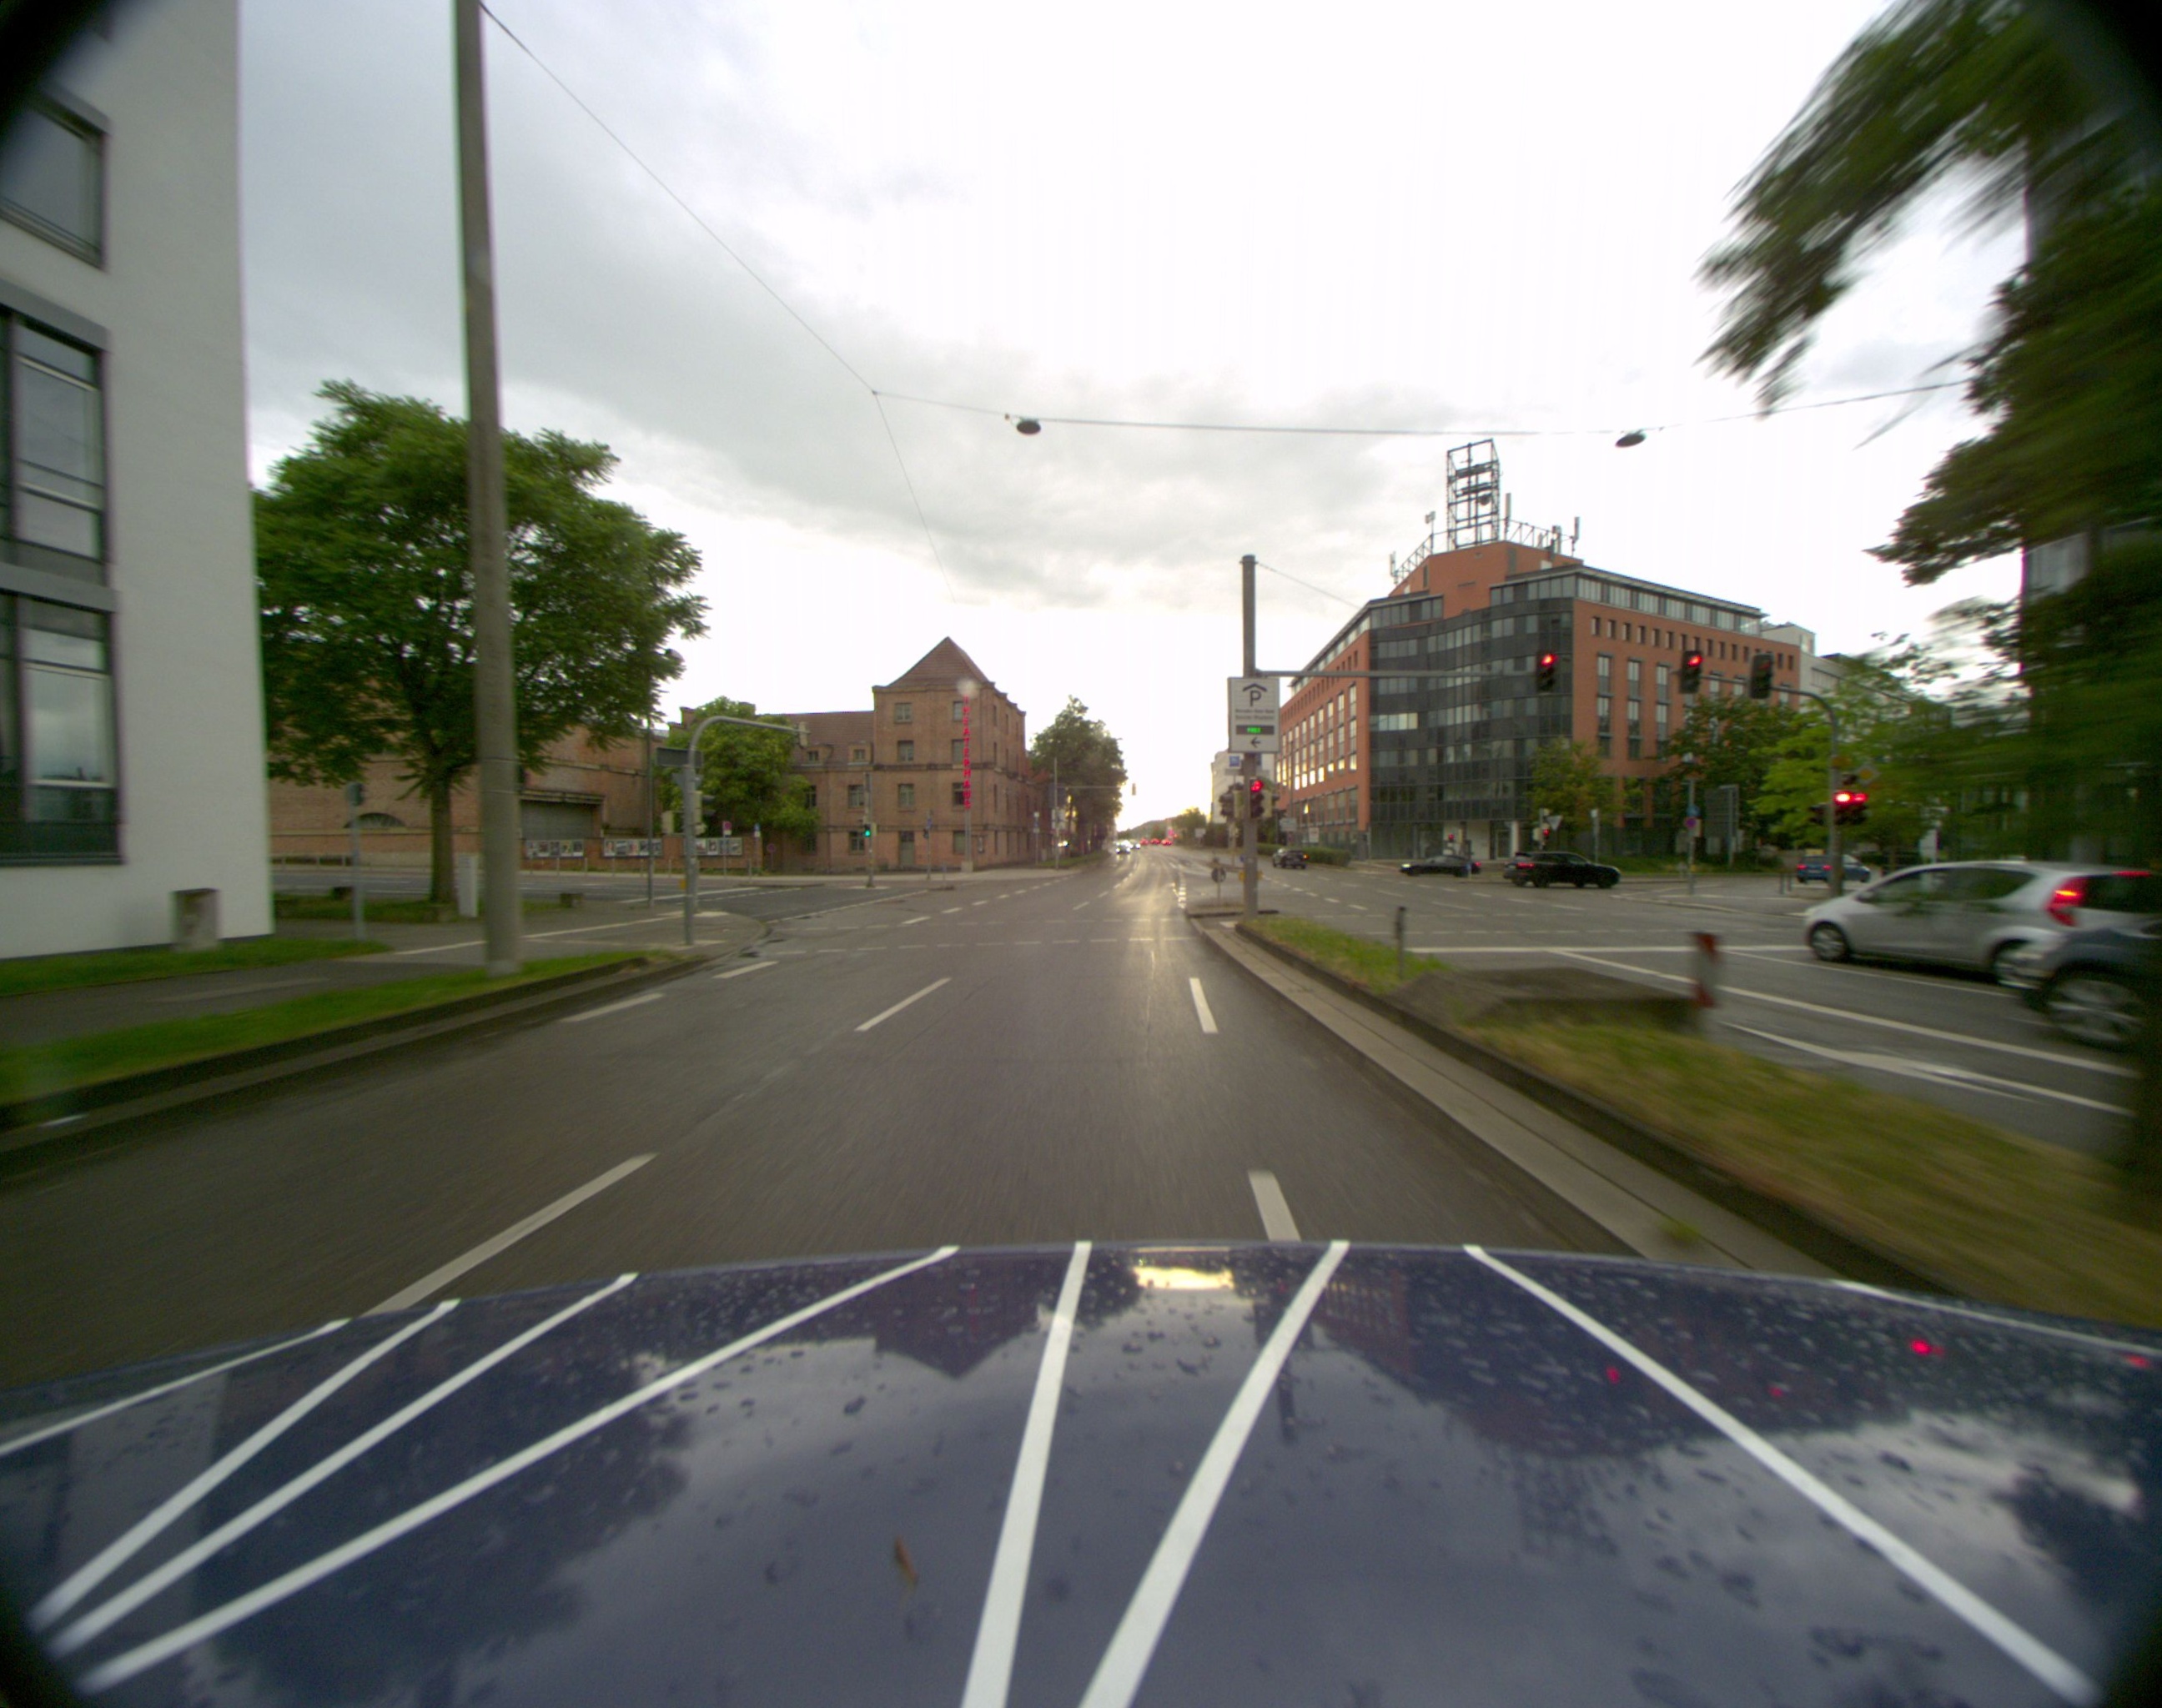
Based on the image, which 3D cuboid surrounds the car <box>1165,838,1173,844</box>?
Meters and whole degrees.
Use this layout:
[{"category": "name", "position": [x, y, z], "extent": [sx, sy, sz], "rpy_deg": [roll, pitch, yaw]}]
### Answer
[{"category": "car", "position": [24.042, -3.590, 206.829], "extent": [1.766, 1.559, 3.999], "rpy_deg": [-1, 1, 2]}]

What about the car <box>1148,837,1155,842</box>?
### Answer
[{"category": "car", "position": [23.939, -5.009, 258.224], "extent": [1.998, 1.543, 4.000], "rpy_deg": [0, 2, 4]}]

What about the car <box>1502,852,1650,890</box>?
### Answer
[{"category": "car", "position": [22.603, 0.765, 34.887], "extent": [5.419, 1.657, 2.000], "rpy_deg": [0, 1, 3]}]

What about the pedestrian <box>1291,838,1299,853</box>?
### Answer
[{"category": "pedestrian", "position": [27.099, -1.125, 96.303], "extent": [0.747, 1.831, 0.886], "rpy_deg": [-2, 2, 4]}]

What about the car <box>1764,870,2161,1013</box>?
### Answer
[{"category": "car", "position": [12.096, 1.045, 10.570], "extent": [1.754, 1.511, 3.817], "rpy_deg": [1, 1, 1]}]

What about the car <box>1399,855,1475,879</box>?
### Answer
[{"category": "car", "position": [22.409, 0.811, 47.929], "extent": [3.993, 1.355, 1.854], "rpy_deg": [1, 1, 11]}]

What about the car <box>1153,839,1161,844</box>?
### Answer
[{"category": "car", "position": [21.476, -3.528, 214.892], "extent": [1.998, 1.543, 4.000], "rpy_deg": [0, 2, 4]}]

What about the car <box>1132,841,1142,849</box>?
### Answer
[{"category": "car", "position": [10.555, -1.662, 143.759], "extent": [1.798, 1.501, 4.001], "rpy_deg": [1, 1, 4]}]

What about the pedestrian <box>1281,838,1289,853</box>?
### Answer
[{"category": "pedestrian", "position": [25.981, -1.123, 96.861], "extent": [0.747, 1.831, 0.886], "rpy_deg": [-2, 2, 4]}]

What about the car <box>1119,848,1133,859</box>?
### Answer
[{"category": "car", "position": [6.261, -0.077, 105.561], "extent": [1.798, 1.501, 4.001], "rpy_deg": [1, 1, 4]}]

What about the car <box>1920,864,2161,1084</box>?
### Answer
[{"category": "car", "position": [9.121, 0.955, 4.764], "extent": [1.999, 1.606, 5.119], "rpy_deg": [1, 1, 0]}]

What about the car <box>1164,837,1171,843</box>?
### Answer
[{"category": "car", "position": [25.157, -4.031, 222.288], "extent": [1.766, 1.559, 4.000], "rpy_deg": [-1, 1, 3]}]

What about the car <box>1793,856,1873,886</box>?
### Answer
[{"category": "car", "position": [42.664, 0.942, 43.104], "extent": [4.202, 1.587, 1.774], "rpy_deg": [0, 2, -24]}]

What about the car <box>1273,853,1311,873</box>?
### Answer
[{"category": "car", "position": [16.673, 0.685, 60.334], "extent": [1.855, 1.501, 4.373], "rpy_deg": [1, 0, 1]}]

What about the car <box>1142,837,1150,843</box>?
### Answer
[{"category": "car", "position": [17.656, -3.746, 206.984], "extent": [1.998, 1.543, 4.000], "rpy_deg": [0, 2, 4]}]

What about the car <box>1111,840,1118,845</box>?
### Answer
[{"category": "car", "position": [10.008, -3.420, 226.277], "extent": [1.798, 1.501, 4.001], "rpy_deg": [1, 1, 4]}]
